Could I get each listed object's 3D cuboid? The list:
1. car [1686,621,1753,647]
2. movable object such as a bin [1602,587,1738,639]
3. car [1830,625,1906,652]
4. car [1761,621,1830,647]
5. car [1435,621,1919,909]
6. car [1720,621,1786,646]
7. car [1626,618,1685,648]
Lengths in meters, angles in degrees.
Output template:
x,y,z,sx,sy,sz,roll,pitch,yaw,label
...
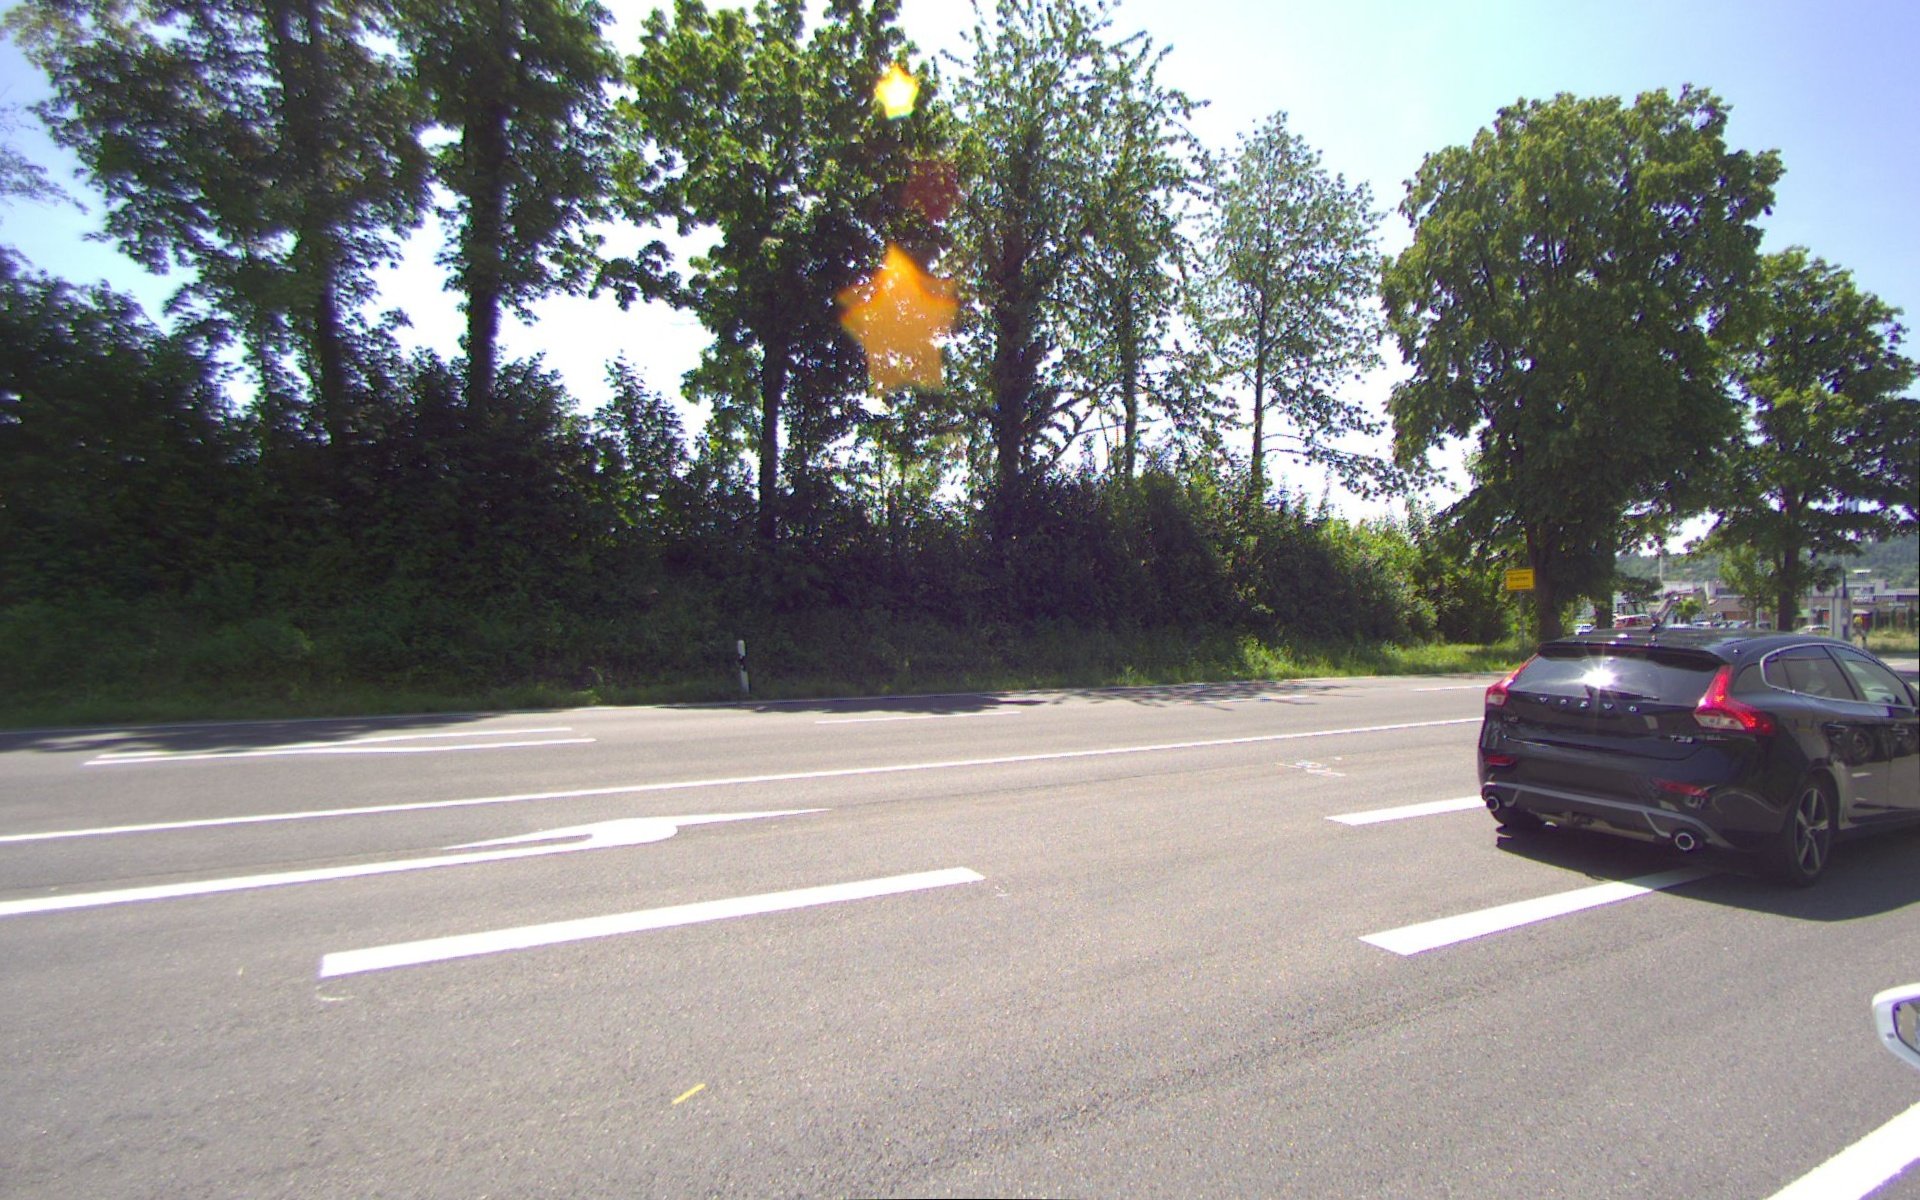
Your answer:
x,y,z,sx,sy,sz,roll,pitch,yaw,label
53.487,2.392,70.812,1.959,1.673,4.002,1,0,7,car
47.017,0.829,66.714,6.654,3.342,3.054,0,0,10,movable object such as a bin
61.311,2.573,67.877,1.803,1.639,4.002,1,0,7,car
58.362,2.362,70.256,1.803,1.639,4.002,1,0,7,car
5.345,0.904,6.896,4.354,1.417,1.677,2,-1,-32,car
55.665,2.337,70.571,1.803,1.639,4.002,1,0,7,car
49.817,2.345,72.060,1.959,2.040,4.002,1,0,10,car
